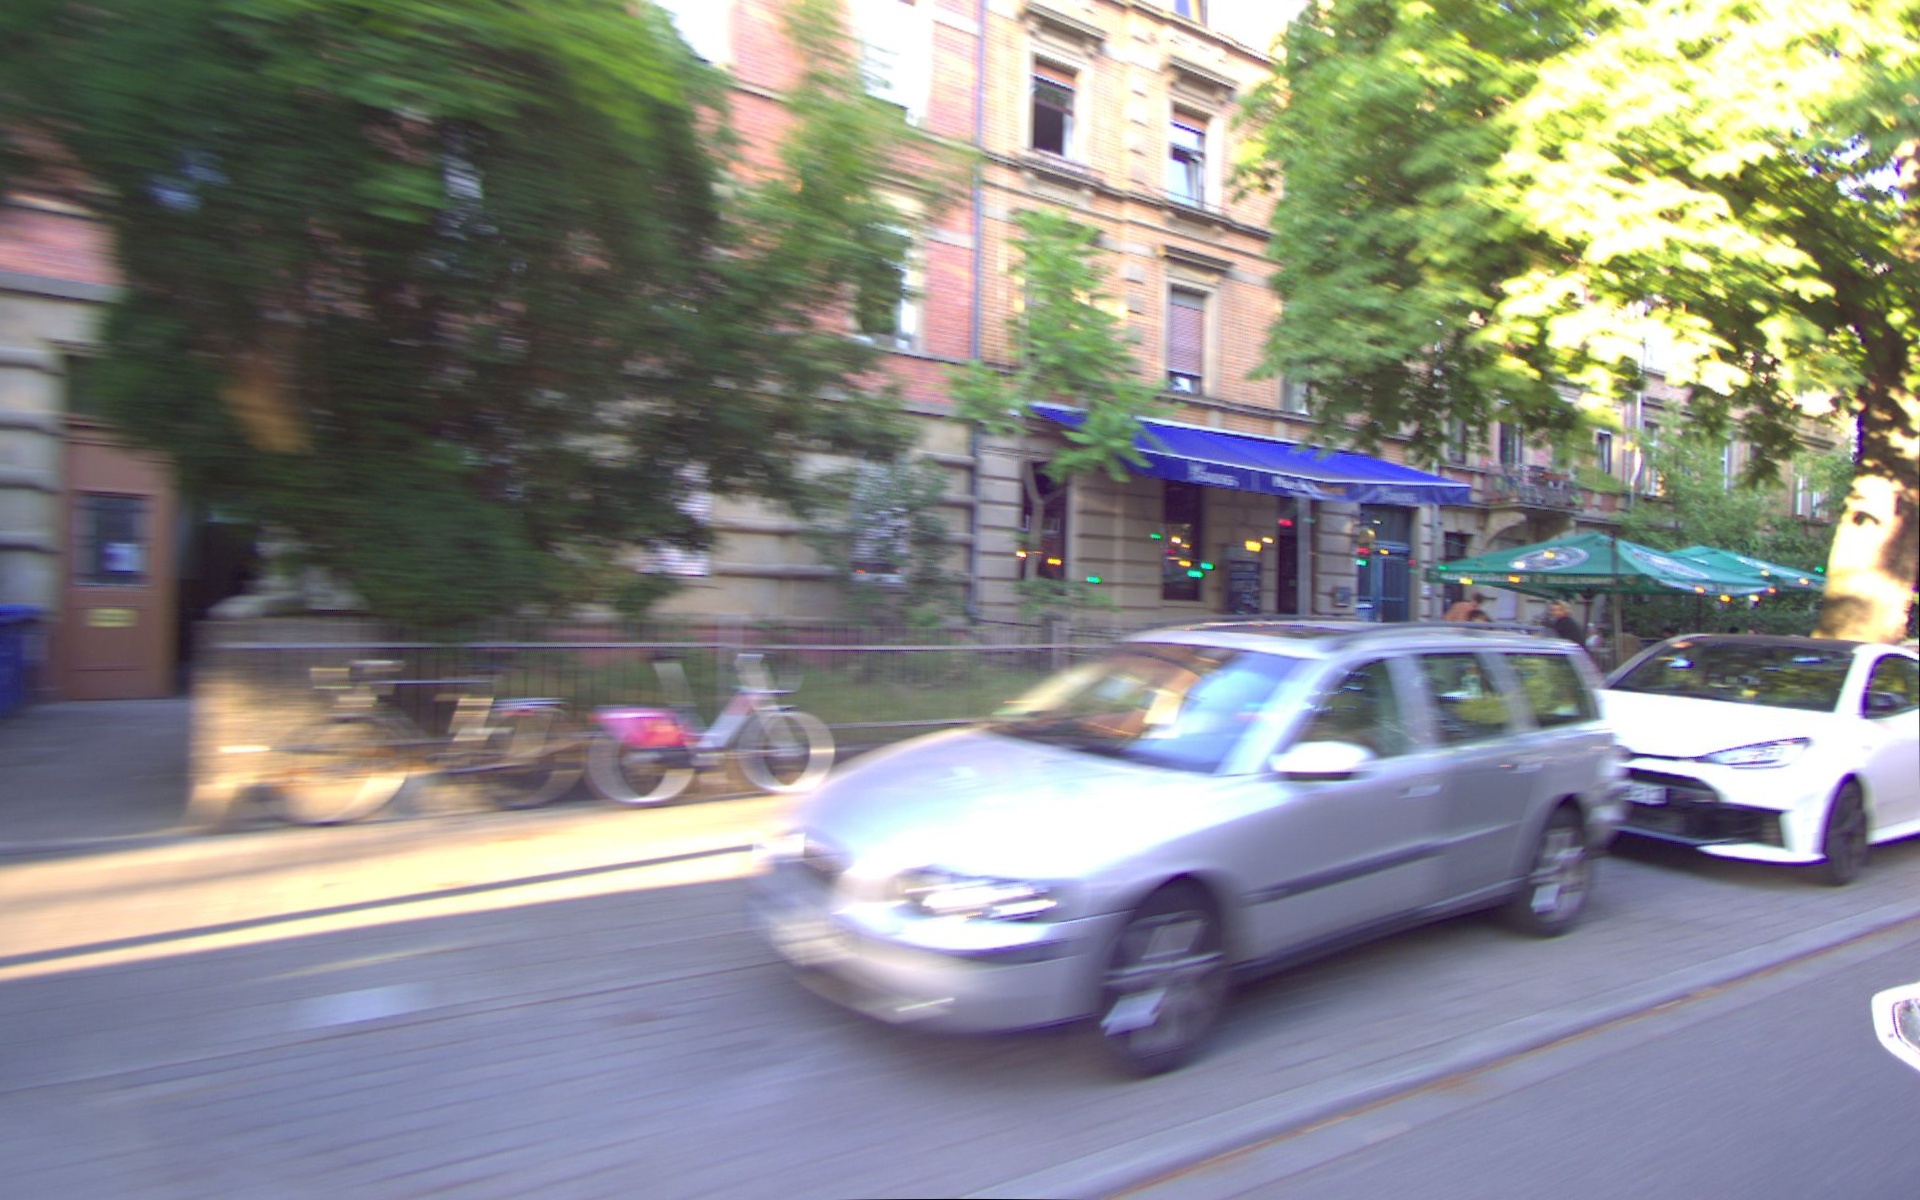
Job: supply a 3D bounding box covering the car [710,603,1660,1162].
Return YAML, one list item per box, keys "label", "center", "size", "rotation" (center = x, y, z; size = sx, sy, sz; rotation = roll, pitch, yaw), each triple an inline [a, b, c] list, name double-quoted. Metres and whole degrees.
- label: "car"
  center: [1.342, 0.787, 4.753]
  size: [4.556, 1.430, 1.827]
  rotation: [1, 1, -36]

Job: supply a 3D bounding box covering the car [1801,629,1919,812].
- label: "car"
  center: [9.759, 1.086, 9.532]
  size: [3.651, 1.505, 1.543]
  rotation: [1, 2, -31]

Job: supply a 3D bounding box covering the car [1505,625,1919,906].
- label: "car"
  center: [5.856, 0.975, 7.233]
  size: [3.840, 1.455, 1.595]
  rotation: [1, 2, -30]
